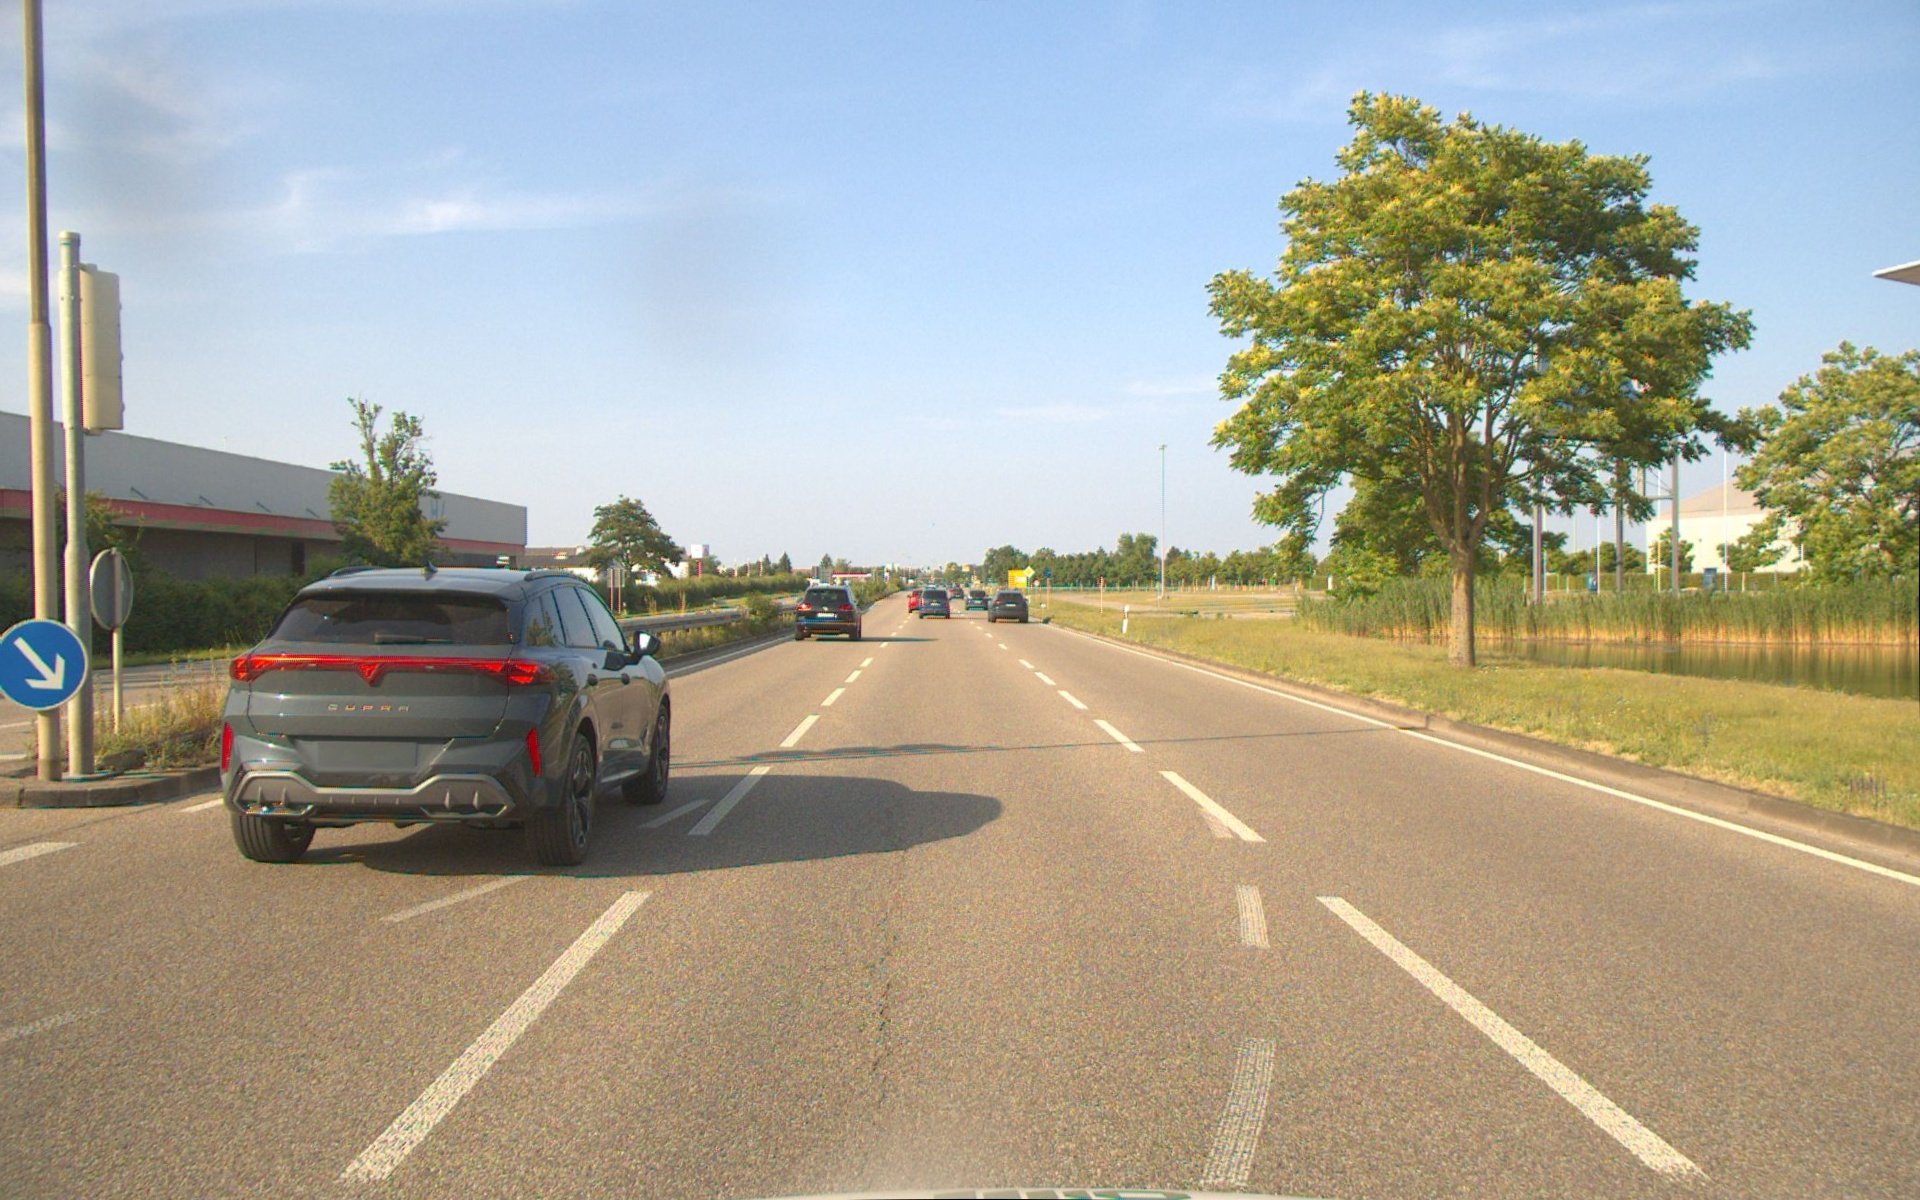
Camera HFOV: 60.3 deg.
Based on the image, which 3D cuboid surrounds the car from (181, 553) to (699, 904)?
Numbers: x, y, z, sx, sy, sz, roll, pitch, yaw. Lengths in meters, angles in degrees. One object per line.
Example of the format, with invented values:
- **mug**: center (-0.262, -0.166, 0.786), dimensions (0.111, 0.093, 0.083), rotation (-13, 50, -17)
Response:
- **car**: center (-2.853, 0.598, 10.187), dimensions (1.808, 1.640, 4.400), rotation (2, 1, -1)

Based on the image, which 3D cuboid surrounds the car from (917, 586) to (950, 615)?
- **car**: center (-1.520, 0.015, 94.123), dimensions (1.776, 1.488, 4.400), rotation (2, 1, -1)

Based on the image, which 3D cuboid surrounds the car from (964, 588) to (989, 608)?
- **car**: center (1.302, -0.195, 132.991), dimensions (1.835, 1.488, 3.980), rotation (2, 1, -1)

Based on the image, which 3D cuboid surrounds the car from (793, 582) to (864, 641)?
- **car**: center (-4.076, 0.325, 51.867), dimensions (1.893, 1.709, 4.400), rotation (2, 1, -1)

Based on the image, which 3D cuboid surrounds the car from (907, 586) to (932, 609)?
- **car**: center (-2.782, -0.194, 112.993), dimensions (1.614, 1.488, 3.980), rotation (2, 1, -1)

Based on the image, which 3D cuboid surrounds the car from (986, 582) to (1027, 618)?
- **car**: center (2.405, -0.021, 85.748), dimensions (1.893, 1.709, 4.400), rotation (2, 1, -1)

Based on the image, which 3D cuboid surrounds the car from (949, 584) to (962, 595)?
- **car**: center (-0.546, -1.345, 206.208), dimensions (1.472, 1.336, 3.155), rotation (2, 1, -1)
